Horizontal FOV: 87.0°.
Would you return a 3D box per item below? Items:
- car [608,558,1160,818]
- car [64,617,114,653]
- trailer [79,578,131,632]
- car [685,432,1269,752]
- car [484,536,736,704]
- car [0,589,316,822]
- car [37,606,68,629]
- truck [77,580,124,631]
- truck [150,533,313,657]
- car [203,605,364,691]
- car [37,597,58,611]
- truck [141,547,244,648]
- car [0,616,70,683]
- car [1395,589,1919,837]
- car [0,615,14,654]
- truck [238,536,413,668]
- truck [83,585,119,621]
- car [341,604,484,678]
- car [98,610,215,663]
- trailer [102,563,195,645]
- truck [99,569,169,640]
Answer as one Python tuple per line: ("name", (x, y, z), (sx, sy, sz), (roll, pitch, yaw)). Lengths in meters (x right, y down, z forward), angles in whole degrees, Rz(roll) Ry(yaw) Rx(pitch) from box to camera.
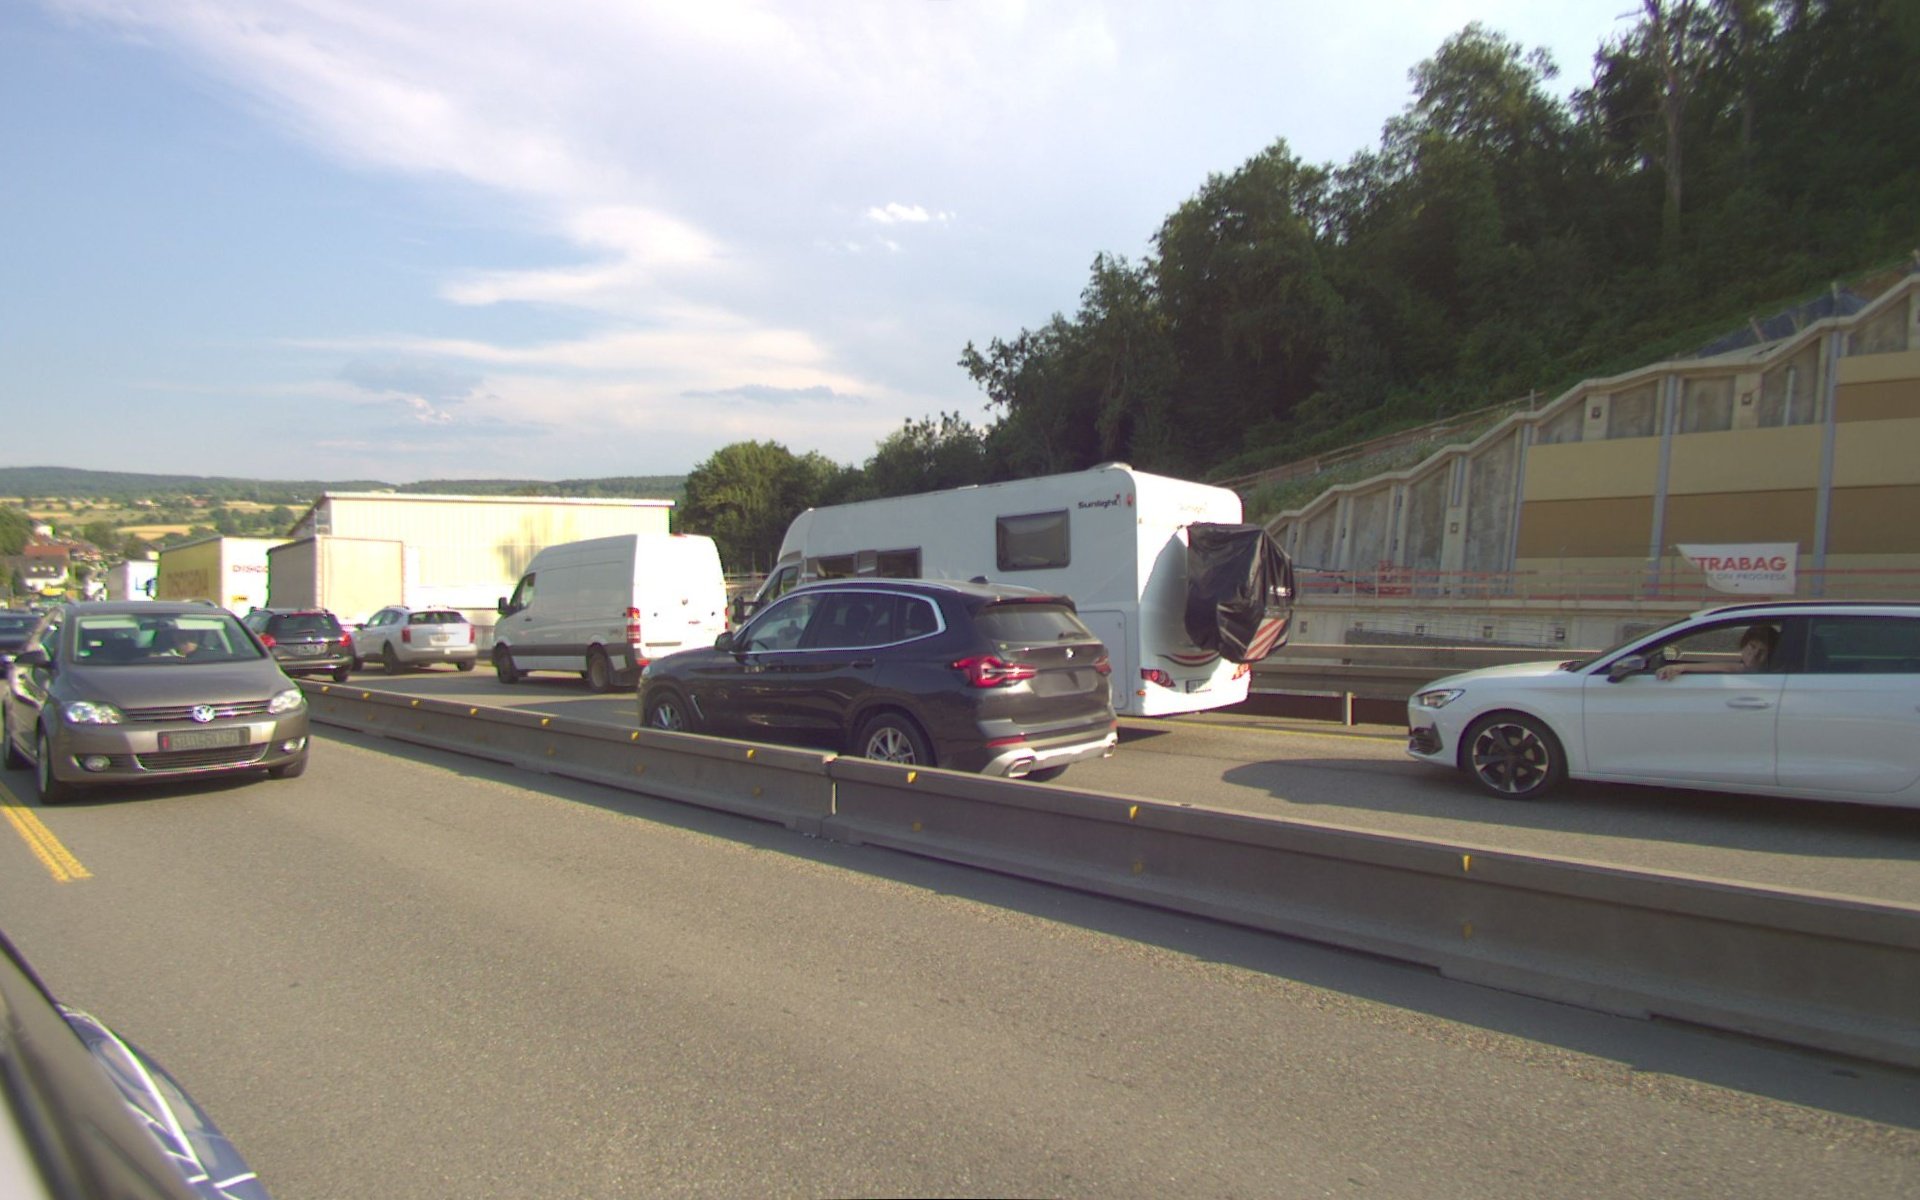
("car", (-0.878, 0.635, 8.462), (4.753, 1.591, 1.798), (-2, -3, 41))
("car", (-40.837, 1.613, 47.428), (1.634, 1.535, 4.292), (-1, 0, -43))
("trailer", (-66.160, 0.427, 78.193), (2.566, 3.910, 10.588), (0, -1, -43))
("car", (-0.251, -0.051, 12.678), (7.628, 2.940, 2.310), (0, -1, 41))
("car", (-6.610, 0.335, 18.657), (5.749, 2.640, 1.935), (0, -1, 43))
("car", (-7.208, 0.726, 8.936), (4.101, 1.585, 1.665), (-1, 0, 44))
("car", (-78.923, 1.495, 87.978), (1.840, 1.925, 4.003), (1, -1, -44))
("truck", (-69.497, 0.464, 81.790), (2.568, 3.917, 6.209), (0, -1, -43))
("truck", (-28.739, -0.104, 39.479), (14.158, 4.119, 2.677), (0, -1, 44))
("car", (-13.954, 0.949, 20.798), (3.999, 1.533, 1.763), (-2, 0, 42))
("car", (-142.460, 0.568, 158.020), (4.753, 2.015, 1.798), (-2, -3, 41))
("truck", (-33.551, -0.064, 44.162), (6.103, 4.119, 2.683), (-1, -1, 44))
("car", (-21.999, 1.100, 23.422), (4.002, 1.409, 1.841), (0, -1, 45))
("car", (5.660, 0.653, 6.964), (4.607, 1.433, 1.730), (0, 0, 41))
("car", (-36.689, 1.321, 37.992), (1.674, 1.409, 4.004), (-2, 0, -43))
("truck", (-19.026, 0.088, 30.108), (7.615, 3.489, 2.421), (-1, -1, 42))
("truck", (-93.051, 0.329, 109.610), (2.857, 3.738, 9.504), (1, 0, -40))
("car", (-12.757, 0.889, 23.499), (4.002, 1.535, 1.744), (-1, 0, 43))
("car", (-24.484, 1.140, 30.770), (4.726, 1.498, 2.036), (-2, -4, 43))
("trailer", (-45.699, 0.243, 56.749), (2.824, 4.066, 13.981), (0, -1, -44))
("truck", (-50.151, 0.289, 61.392), (2.810, 4.066, 6.106), (0, -1, -44))
